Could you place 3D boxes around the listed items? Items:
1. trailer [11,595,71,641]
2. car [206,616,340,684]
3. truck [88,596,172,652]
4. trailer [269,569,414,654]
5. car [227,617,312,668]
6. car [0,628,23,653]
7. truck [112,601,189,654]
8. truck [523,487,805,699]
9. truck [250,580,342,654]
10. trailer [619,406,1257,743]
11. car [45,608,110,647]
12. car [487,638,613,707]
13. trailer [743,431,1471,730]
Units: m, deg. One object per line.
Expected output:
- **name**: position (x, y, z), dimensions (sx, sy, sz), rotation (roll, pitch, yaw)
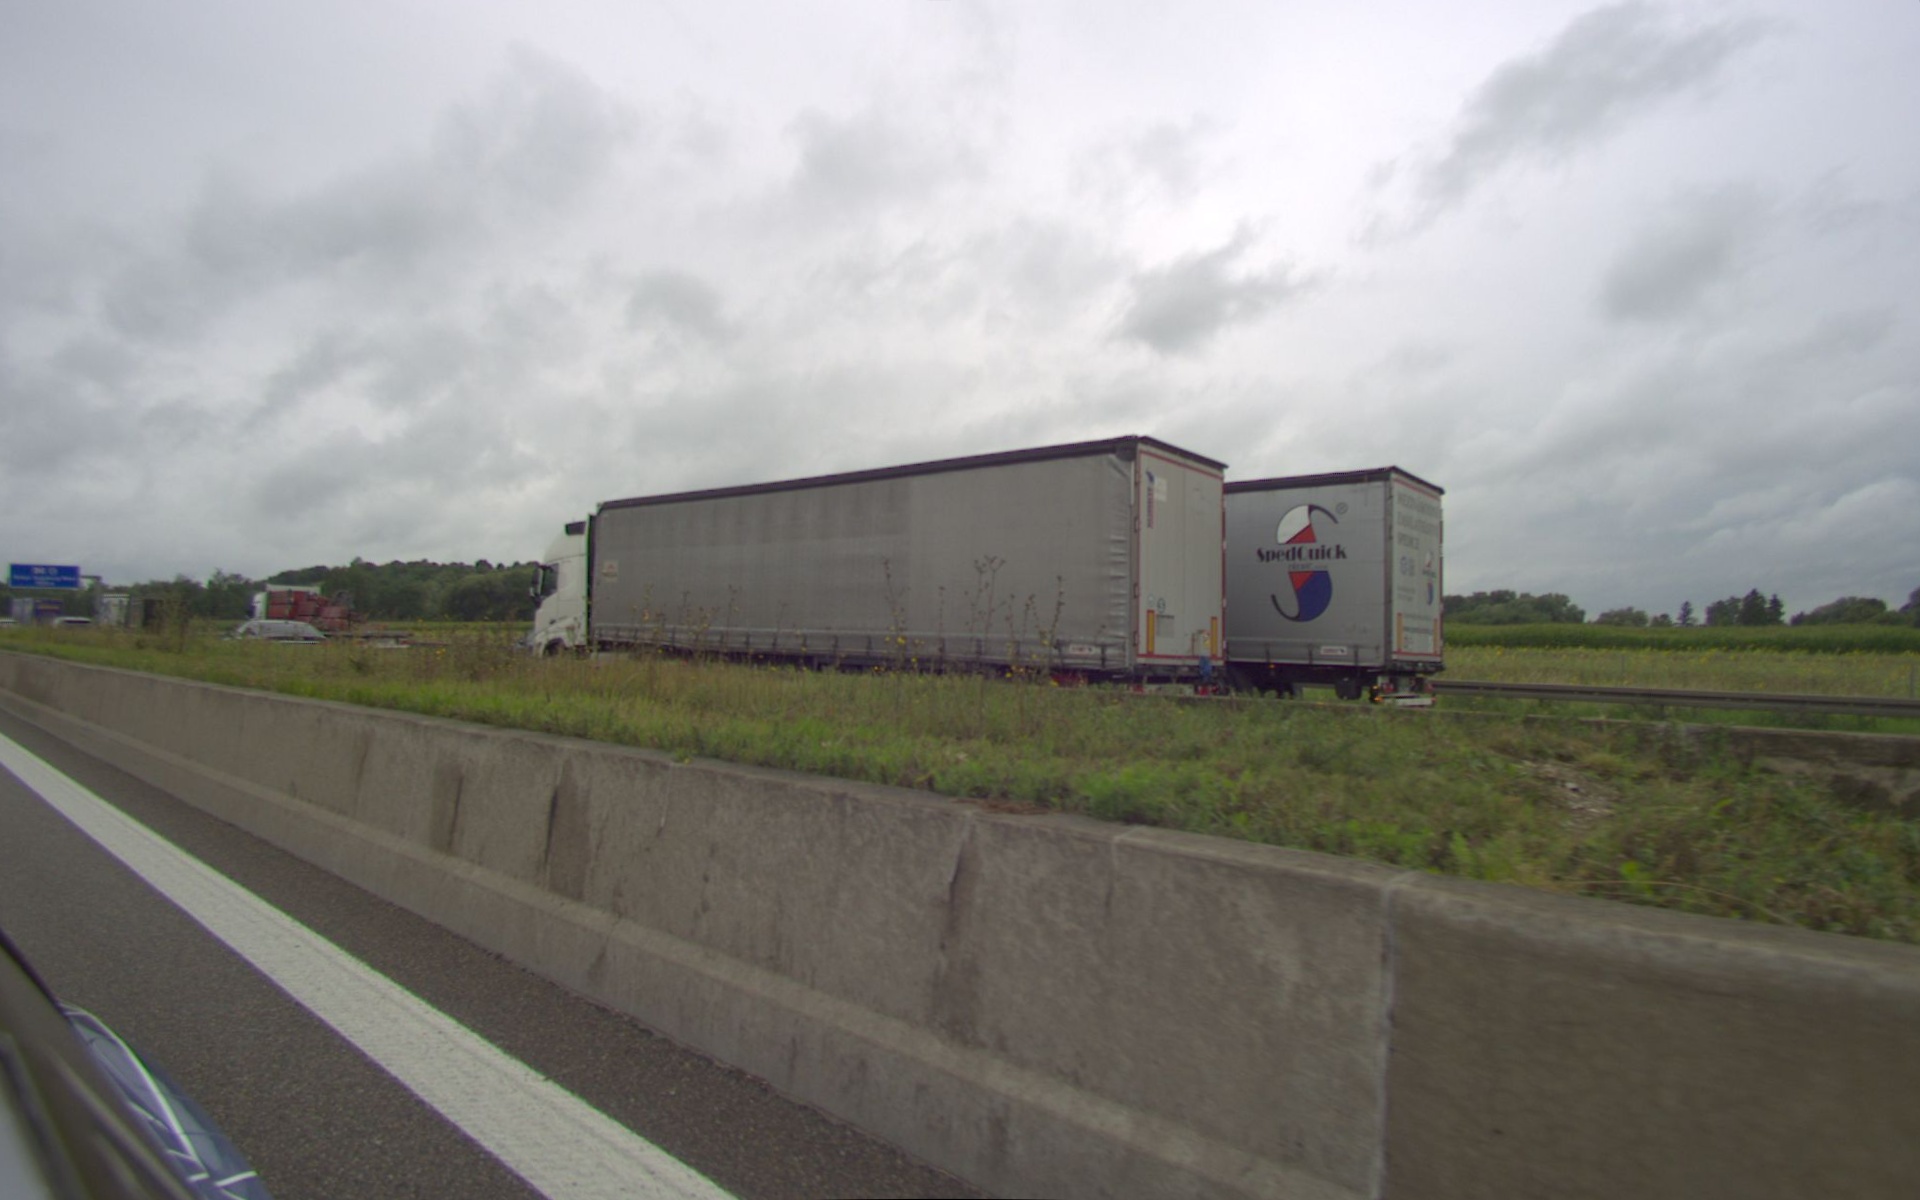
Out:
- **trailer**: position (-100.208, 1.950, 110.240), dimensions (11.672, 4.804, 3.353), rotation (-1, 0, 40)
- **car**: position (-19.343, 1.347, 28.416), dimensions (4.799, 1.723, 2.071), rotation (-1, -1, 42)
- **truck**: position (-72.333, 1.996, 88.039), dimensions (11.777, 4.517, 3.477), rotation (-1, 0, 40)
- **trailer**: position (-30.727, 0.709, 49.909), dimensions (12.187, 3.754, 2.613), rotation (-3, -1, 42)
- **car**: position (-29.321, 1.772, 42.941), dimensions (4.359, 2.029, 1.972), rotation (-1, -2, 42)
- **car**: position (-71.291, 3.035, 75.391), dimensions (3.999, 1.730, 1.762), rotation (-1, 0, 42)
- **truck**: position (-47.268, 1.537, 59.034), dimensions (7.421, 2.930, 2.287), rotation (-1, 0, 42)
- **truck**: position (-6.694, -0.126, 22.401), dimensions (6.369, 4.005, 3.060), rotation (-1, 0, 42)
- **truck**: position (-35.726, 0.960, 54.384), dimensions (5.869, 3.754, 2.613), rotation (-3, -1, 41)
- **trailer**: position (-1.312, -0.288, 17.648), dimensions (12.325, 4.119, 3.053), rotation (-1, 0, 42)
- **car**: position (-47.046, 1.467, 53.915), dimensions (4.798, 2.029, 1.972), rotation (-1, -2, 42)
- **car**: position (-13.512, 2.303, 33.228), dimensions (4.619, 2.029, 1.972), rotation (-1, -2, 42)
- **trailer**: position (1.708, -0.244, 21.163), dimensions (15.618, 4.303, 3.674), rotation (-1, 0, 42)
